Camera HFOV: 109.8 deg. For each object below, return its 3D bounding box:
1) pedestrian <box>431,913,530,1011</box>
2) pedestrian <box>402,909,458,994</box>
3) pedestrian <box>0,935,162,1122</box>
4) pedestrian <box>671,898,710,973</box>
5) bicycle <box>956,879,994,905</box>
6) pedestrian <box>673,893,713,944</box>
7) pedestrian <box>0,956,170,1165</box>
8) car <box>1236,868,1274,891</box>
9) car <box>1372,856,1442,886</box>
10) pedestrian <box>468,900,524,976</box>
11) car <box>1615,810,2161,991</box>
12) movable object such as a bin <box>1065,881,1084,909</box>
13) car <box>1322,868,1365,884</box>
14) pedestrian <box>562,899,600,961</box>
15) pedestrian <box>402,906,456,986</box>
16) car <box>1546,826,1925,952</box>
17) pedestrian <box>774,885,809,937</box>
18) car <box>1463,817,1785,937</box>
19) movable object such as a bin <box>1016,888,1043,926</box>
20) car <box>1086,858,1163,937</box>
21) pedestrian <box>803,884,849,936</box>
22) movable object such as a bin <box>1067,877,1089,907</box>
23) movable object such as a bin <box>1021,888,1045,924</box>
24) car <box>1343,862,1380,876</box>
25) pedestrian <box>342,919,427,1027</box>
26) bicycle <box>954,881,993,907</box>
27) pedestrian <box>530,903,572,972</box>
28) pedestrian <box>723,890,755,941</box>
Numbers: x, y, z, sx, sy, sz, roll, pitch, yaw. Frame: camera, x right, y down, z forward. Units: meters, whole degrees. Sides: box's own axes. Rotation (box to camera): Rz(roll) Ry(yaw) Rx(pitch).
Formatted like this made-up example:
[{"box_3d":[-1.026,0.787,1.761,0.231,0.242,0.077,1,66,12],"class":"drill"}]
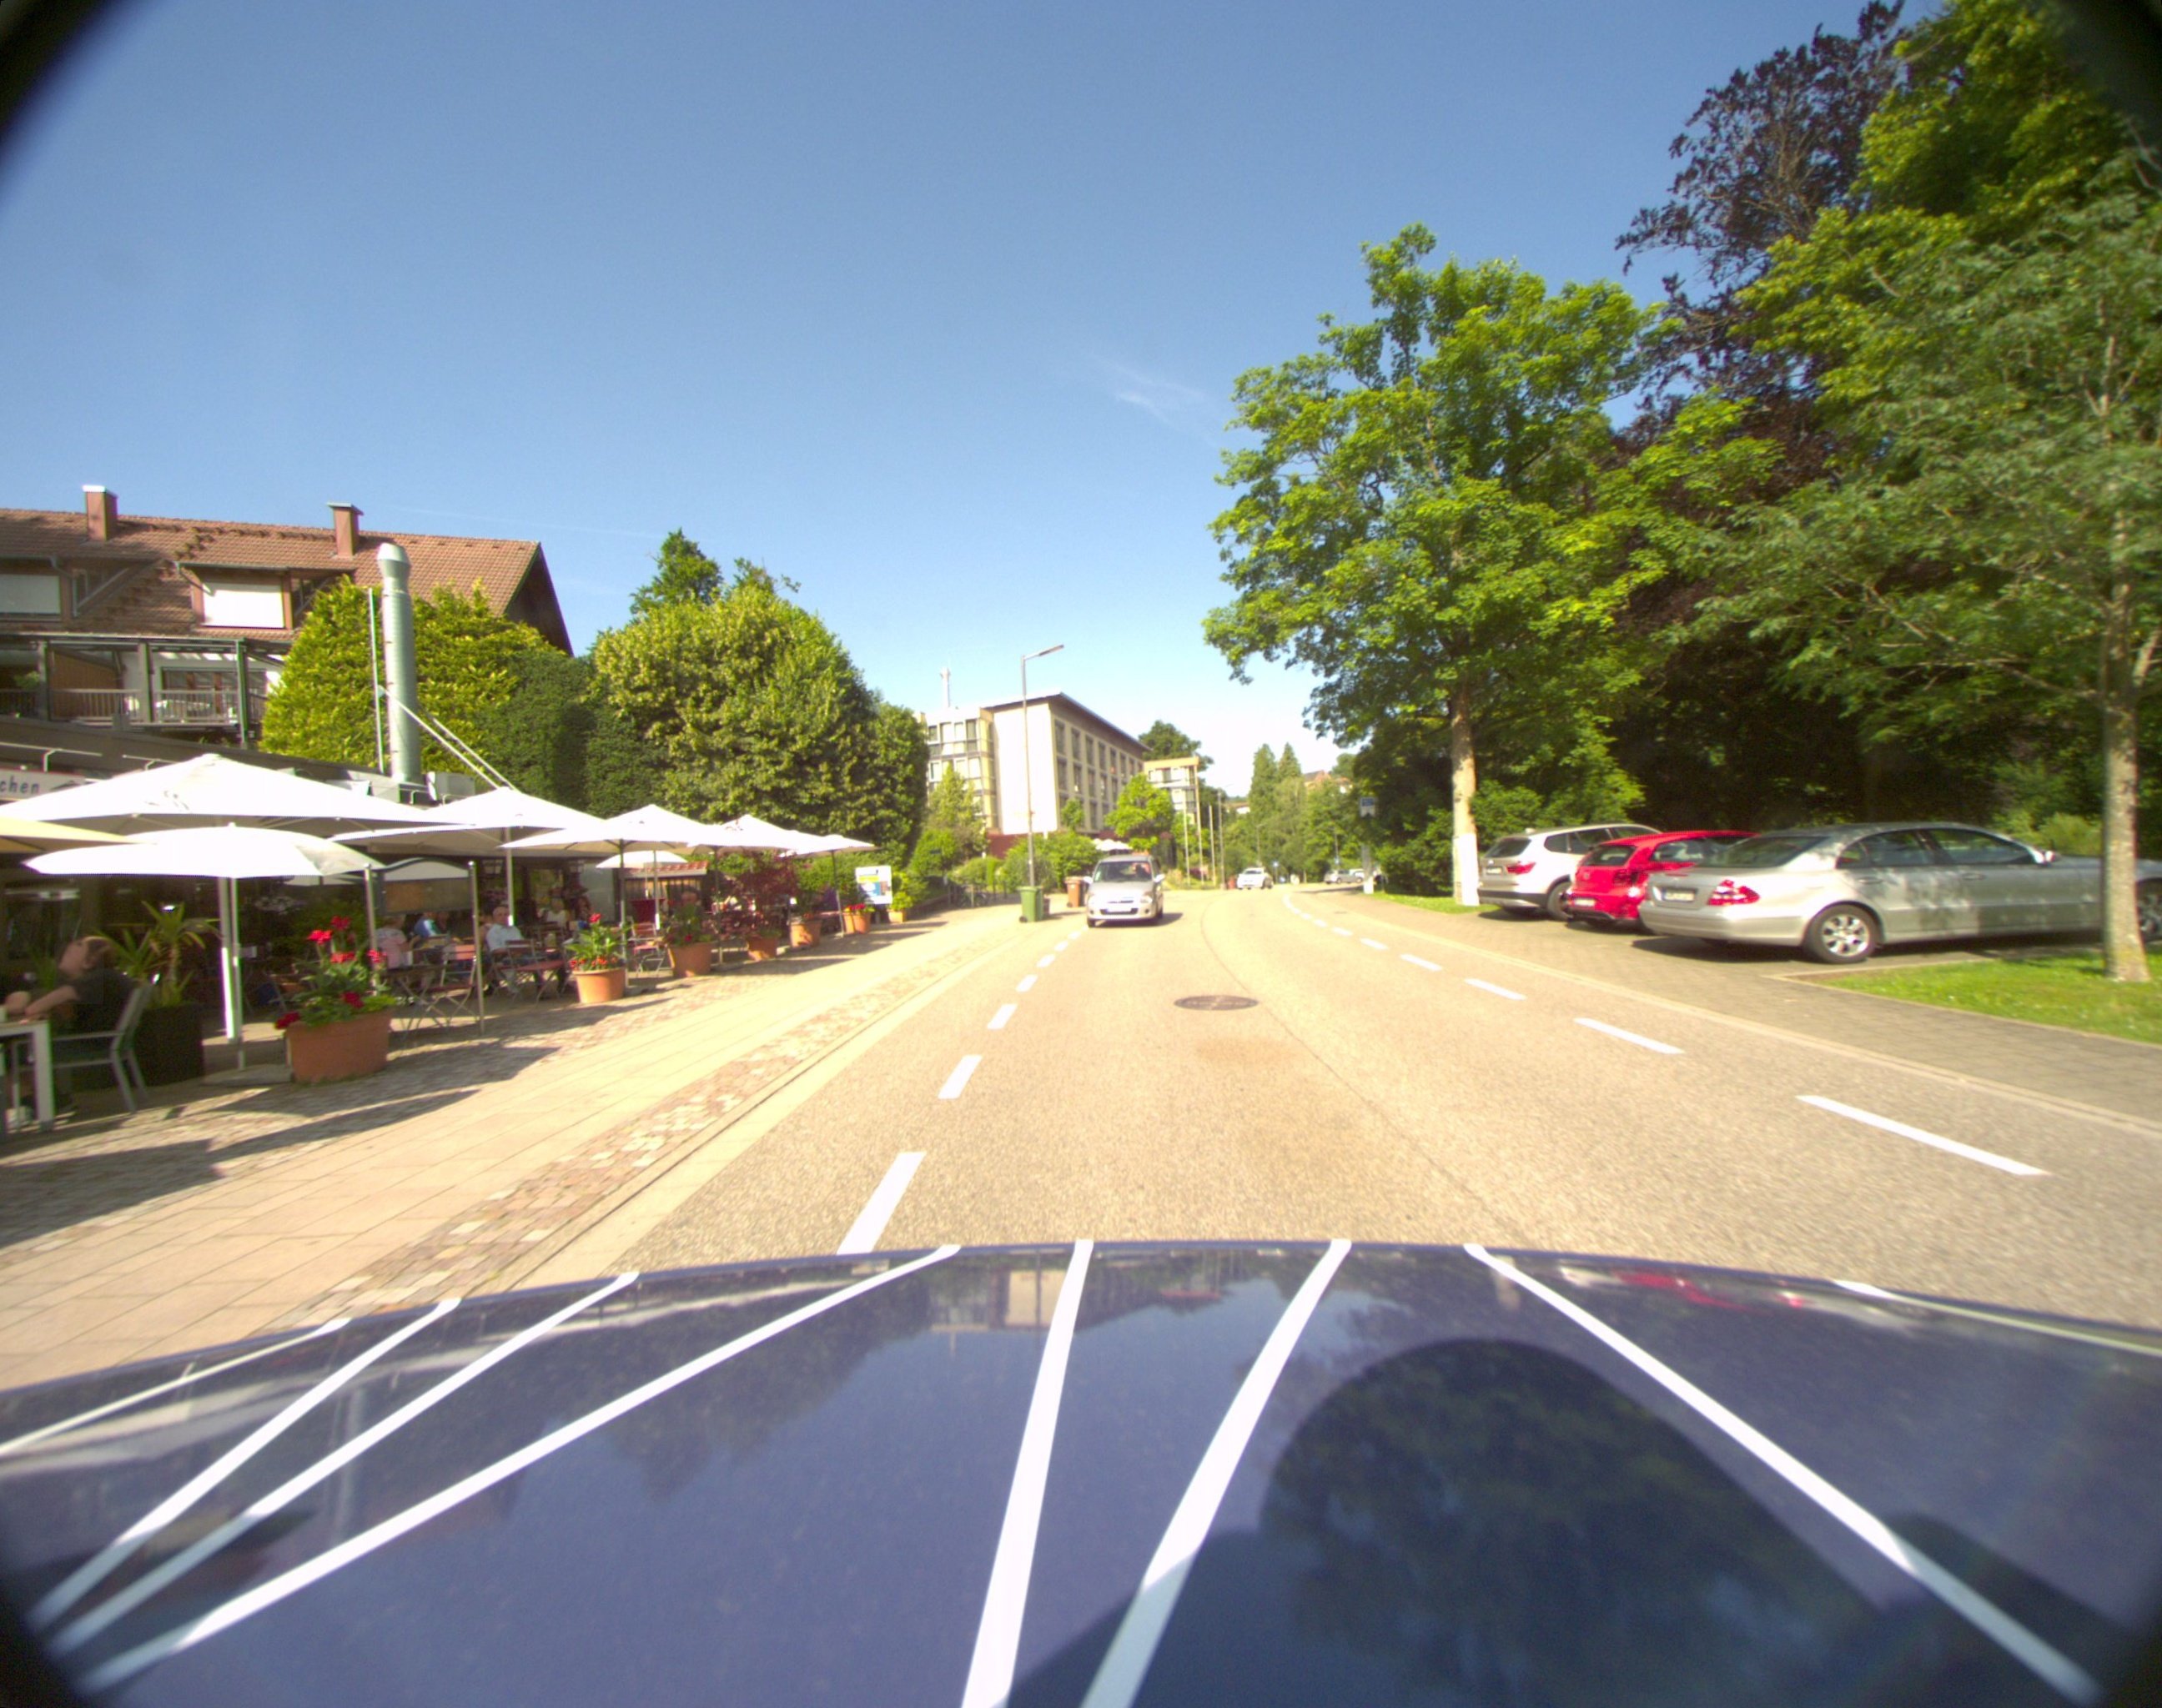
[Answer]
[{"box_3d":[-8.320,1.474,10.550,0.811,1.253,0.701,-2,0,18],"class":"pedestrian"},{"box_3d":[-10.698,1.579,12.500,0.639,1.297,0.579,-1,0,-37],"class":"pedestrian"},{"box_3d":[-8.577,1.435,6.468,0.701,1.373,0.810,-2,0,-32],"class":"pedestrian"},{"box_3d":[-6.854,1.411,13.342,0.473,1.238,0.592,-2,1,-17],"class":"pedestrian"},{"box_3d":[-4.101,1.470,29.387,1.544,0.977,0.385,-1,0,32],"class":"bicycle"},{"box_3d":[-9.621,1.594,18.864,0.507,1.224,0.700,-2,0,18],"class":"pedestrian"},{"box_3d":[-7.170,1.397,5.261,0.812,1.253,0.700,-2,0,-10],"class":"pedestrian"},{"box_3d":[11.820,1.694,51.451,1.737,1.488,3.937,-2,-2,25],"class":"car"},{"box_3d":[19.261,1.006,44.898,3.681,1.478,1.569,-5,-3,25],"class":"car"},{"box_3d":[-10.578,1.498,13.751,0.531,1.297,0.609,-2,0,-4],"class":"pedestrian"},{"box_3d":[9.062,0.479,8.633,4.492,1.409,1.810,-6,1,6],"class":"car"},{"box_3d":[-0.218,1.408,26.196,0.526,0.906,0.563,-2,-1,12],"class":"movable object such as a bin"},{"box_3d":[26.966,2.272,78.040,4.002,1.388,1.515,-3,-3,-16],"class":"car"},{"box_3d":[-10.617,1.605,16.153,0.409,1.260,0.509,-2,0,9],"class":"pedestrian"},{"box_3d":[-11.250,1.566,13.129,0.639,1.275,0.579,-1,0,-37],"class":"pedestrian"},{"box_3d":[9.560,0.487,11.388,3.996,1.424,1.720,-5,0,4],"class":"car"},{"box_3d":[-7.419,1.461,19.504,0.649,1.276,0.645,-2,0,-3],"class":"pedestrian"},{"box_3d":[9.757,0.385,13.933,4.494,1.654,1.810,-5,1,1],"class":"car"},{"box_3d":[-1.321,1.365,19.601,0.549,0.920,0.520,-2,0,9],"class":"movable object such as a bin"},{"box_3d":[1.147,0.949,18.462,1.604,1.628,4.002,-2,0,6],"class":"car"},{"box_3d":[-6.518,1.423,19.469,0.951,1.276,0.645,-2,0,-3],"class":"pedestrian"},{"box_3d":[-0.098,1.327,26.748,0.657,1.026,0.572,-2,-1,12],"class":"movable object such as a bin"},{"box_3d":[-1.269,1.370,20.109,0.515,0.907,0.442,-2,0,9],"class":"movable object such as a bin"},{"box_3d":[34.760,1.814,94.198,3.997,1.468,1.517,-3,-3,1],"class":"car"},{"box_3d":[-9.077,1.515,9.940,0.702,1.253,0.810,-2,0,-37],"class":"pedestrian"},{"box_3d":[-4.007,1.479,28.184,1.544,0.903,0.385,0,0,32],"class":"bicycle"},{"box_3d":[-10.224,1.602,14.671,0.470,1.258,0.440,-2,0,-5],"class":"pedestrian"},{"box_3d":[-8.750,1.555,19.418,0.596,1.230,0.507,-1,0,-42],"class":"pedestrian"}]
